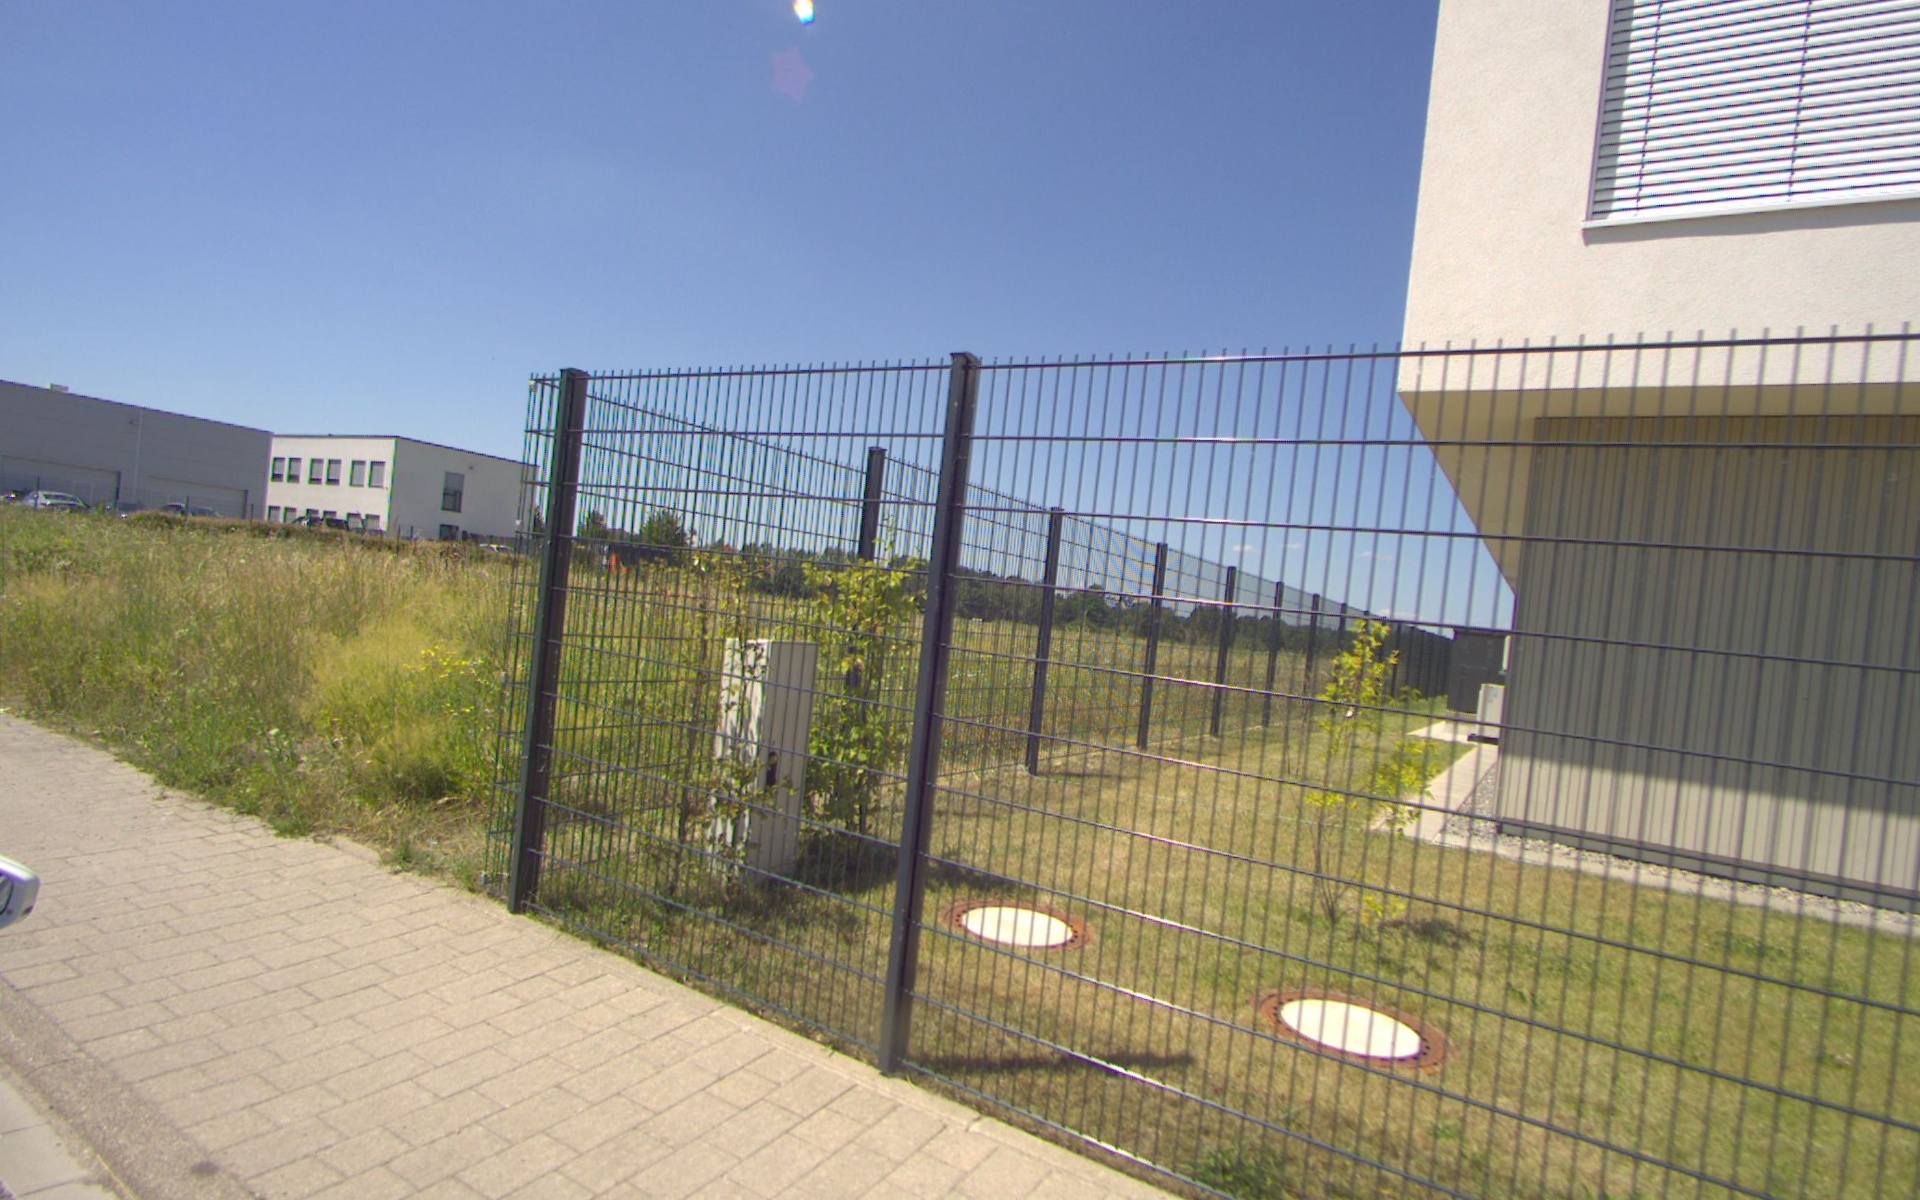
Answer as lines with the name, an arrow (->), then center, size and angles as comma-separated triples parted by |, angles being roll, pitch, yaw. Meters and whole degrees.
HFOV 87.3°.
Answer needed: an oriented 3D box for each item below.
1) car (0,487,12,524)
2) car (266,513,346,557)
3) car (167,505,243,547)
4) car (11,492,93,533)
car -> -40.069, -3.977, 40.786 | 3.276, 1.430, 1.459 | 6, 0, 31
car -> -34.168, -3.396, 52.551 | 4.057, 1.870, 1.750 | 6, 0, 31
car -> -36.062, -3.532, 48.047 | 3.721, 1.654, 1.516 | 6, 0, 31
car -> -38.381, -3.706, 42.506 | 3.481, 1.414, 1.516 | 6, 0, 31
